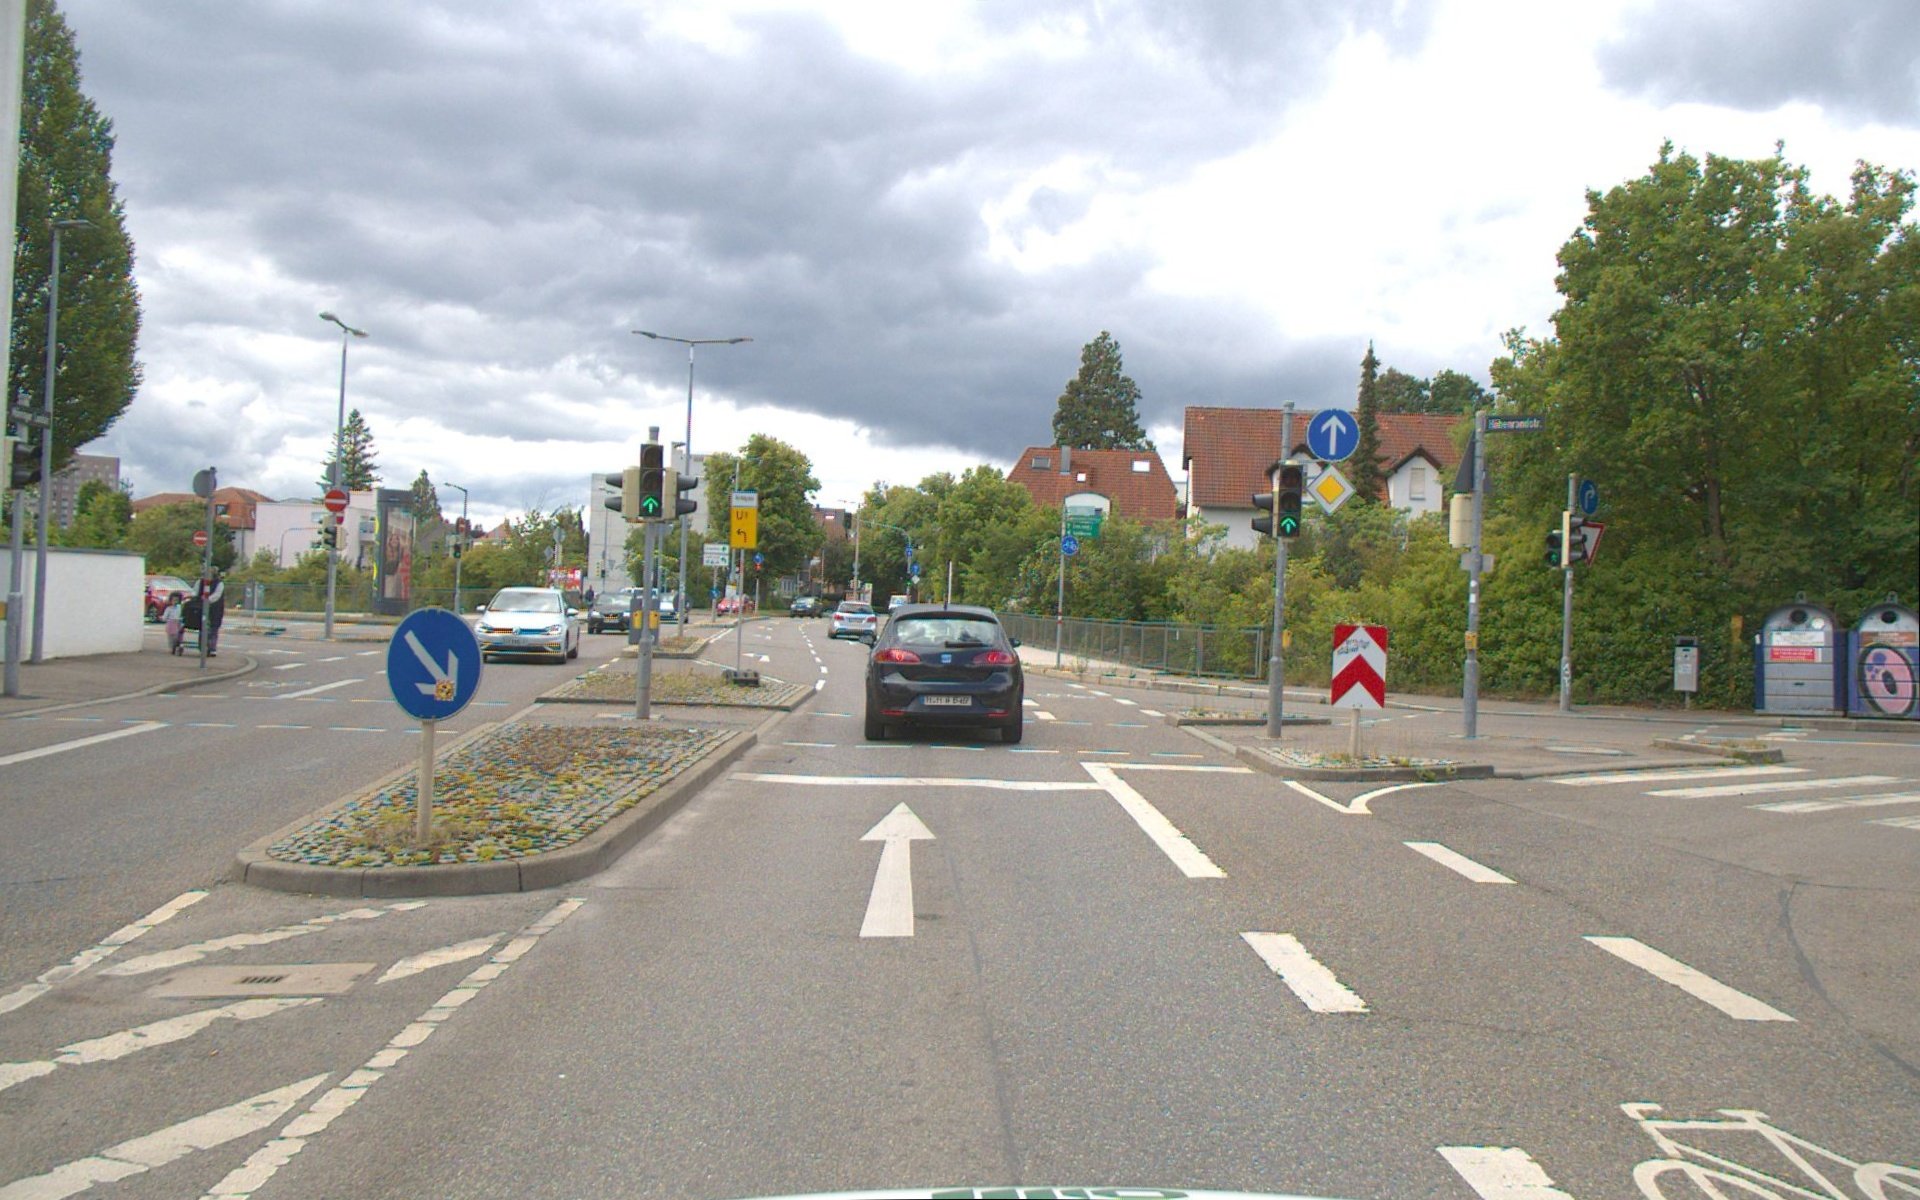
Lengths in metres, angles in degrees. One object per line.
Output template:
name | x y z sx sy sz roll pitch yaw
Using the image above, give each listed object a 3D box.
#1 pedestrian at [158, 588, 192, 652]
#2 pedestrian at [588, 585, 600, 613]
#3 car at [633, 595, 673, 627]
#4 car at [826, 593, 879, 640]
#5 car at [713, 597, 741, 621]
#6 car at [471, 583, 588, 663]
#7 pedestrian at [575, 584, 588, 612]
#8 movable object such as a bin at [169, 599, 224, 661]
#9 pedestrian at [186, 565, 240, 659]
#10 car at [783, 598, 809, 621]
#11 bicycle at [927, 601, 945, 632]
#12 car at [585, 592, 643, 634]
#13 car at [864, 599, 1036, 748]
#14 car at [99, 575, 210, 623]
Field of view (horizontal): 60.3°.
pedestrian | -13.680 0.353 28.830 0.319 1.080 0.443 5 -1 -7
pedestrian | -22.203 -0.081 100.313 0.644 1.662 1.067 3 -1 -12
car | -14.808 0.527 79.886 1.612 1.433 3.812 3 0 -8
car | -4.273 0.632 65.180 1.785 1.729 4.245 1 0 -8
car | -14.878 0.563 105.867 1.688 1.473 4.060 3 0 -8
car | -8.574 0.440 33.259 1.764 1.469 3.942 2 0 -8
pedestrian | -22.943 -0.108 100.212 0.644 1.662 0.830 3 -1 -12
movable object such as a bin | -12.908 0.498 27.985 0.488 0.976 0.984 6 -1 -8
pedestrian | -13.000 0.210 28.801 0.521 1.569 0.730 6 -1 -8
car | -12.544 0.686 126.319 1.788 1.655 4.271 2 0 -8
bicycle | -1.215 0.850 84.522 0.873 1.537 2.782 1 0 -1
car | -11.913 0.435 57.155 1.688 1.415 3.911 0 0 -8
car | -0.176 0.751 18.767 1.724 1.474 3.712 1 0 -2
car | -25.940 -0.029 53.240 3.631 1.472 1.768 0 0 37
